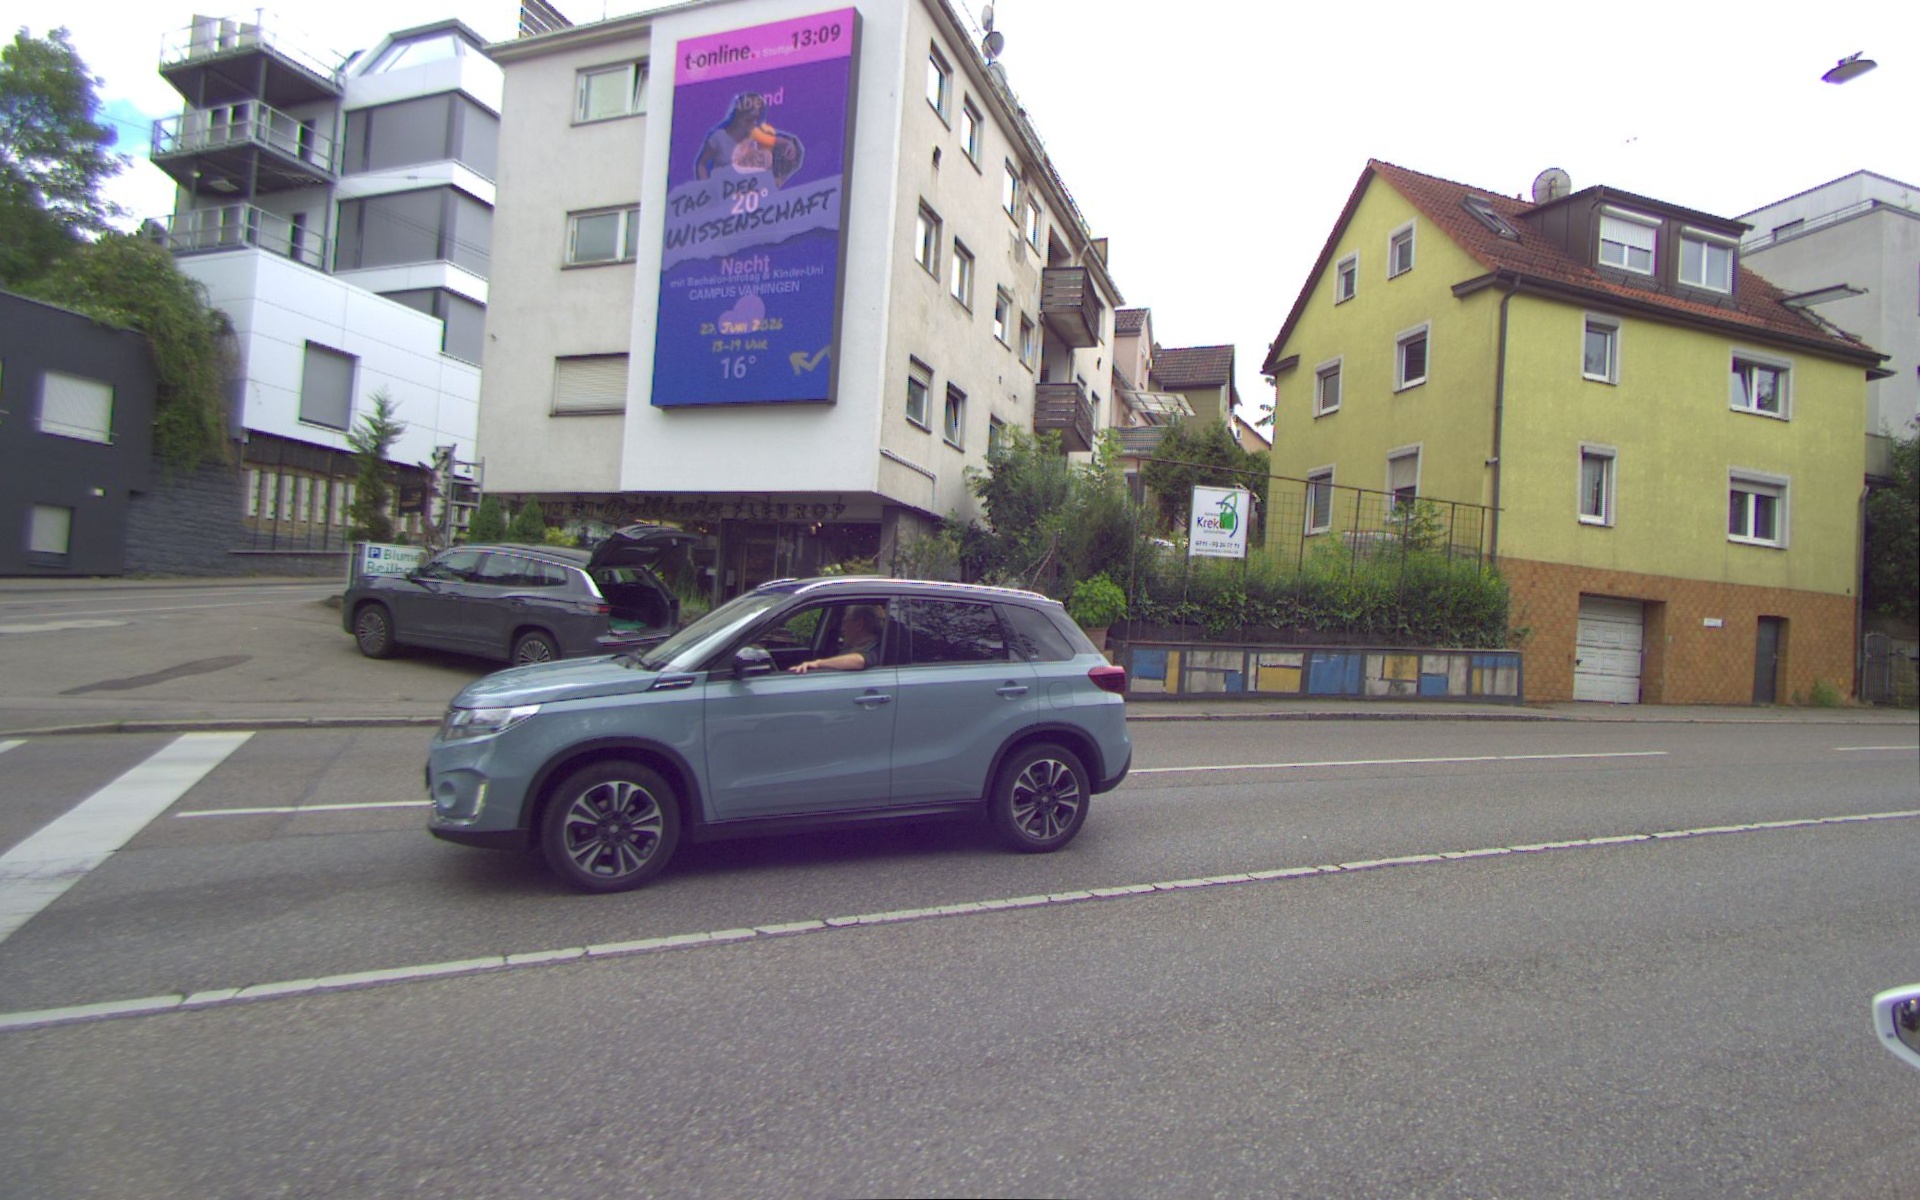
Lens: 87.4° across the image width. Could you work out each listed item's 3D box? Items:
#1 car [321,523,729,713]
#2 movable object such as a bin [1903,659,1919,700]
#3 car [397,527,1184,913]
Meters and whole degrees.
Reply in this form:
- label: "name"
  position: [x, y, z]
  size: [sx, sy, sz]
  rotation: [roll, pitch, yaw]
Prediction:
- label: "car"
  position: [-5.709, 0.094, 13.247]
  size: [4.613, 1.735, 2.317]
  rotation: [7, 5, 22]
- label: "movable object such as a bin"
  position: [21.598, 1.783, 22.489]
  size: [0.604, 0.897, 0.564]
  rotation: [2, 1, -34]
- label: "car"
  position: [-0.942, 0.578, 6.257]
  size: [4.289, 1.718, 1.890]
  rotation: [2, 0, -25]
